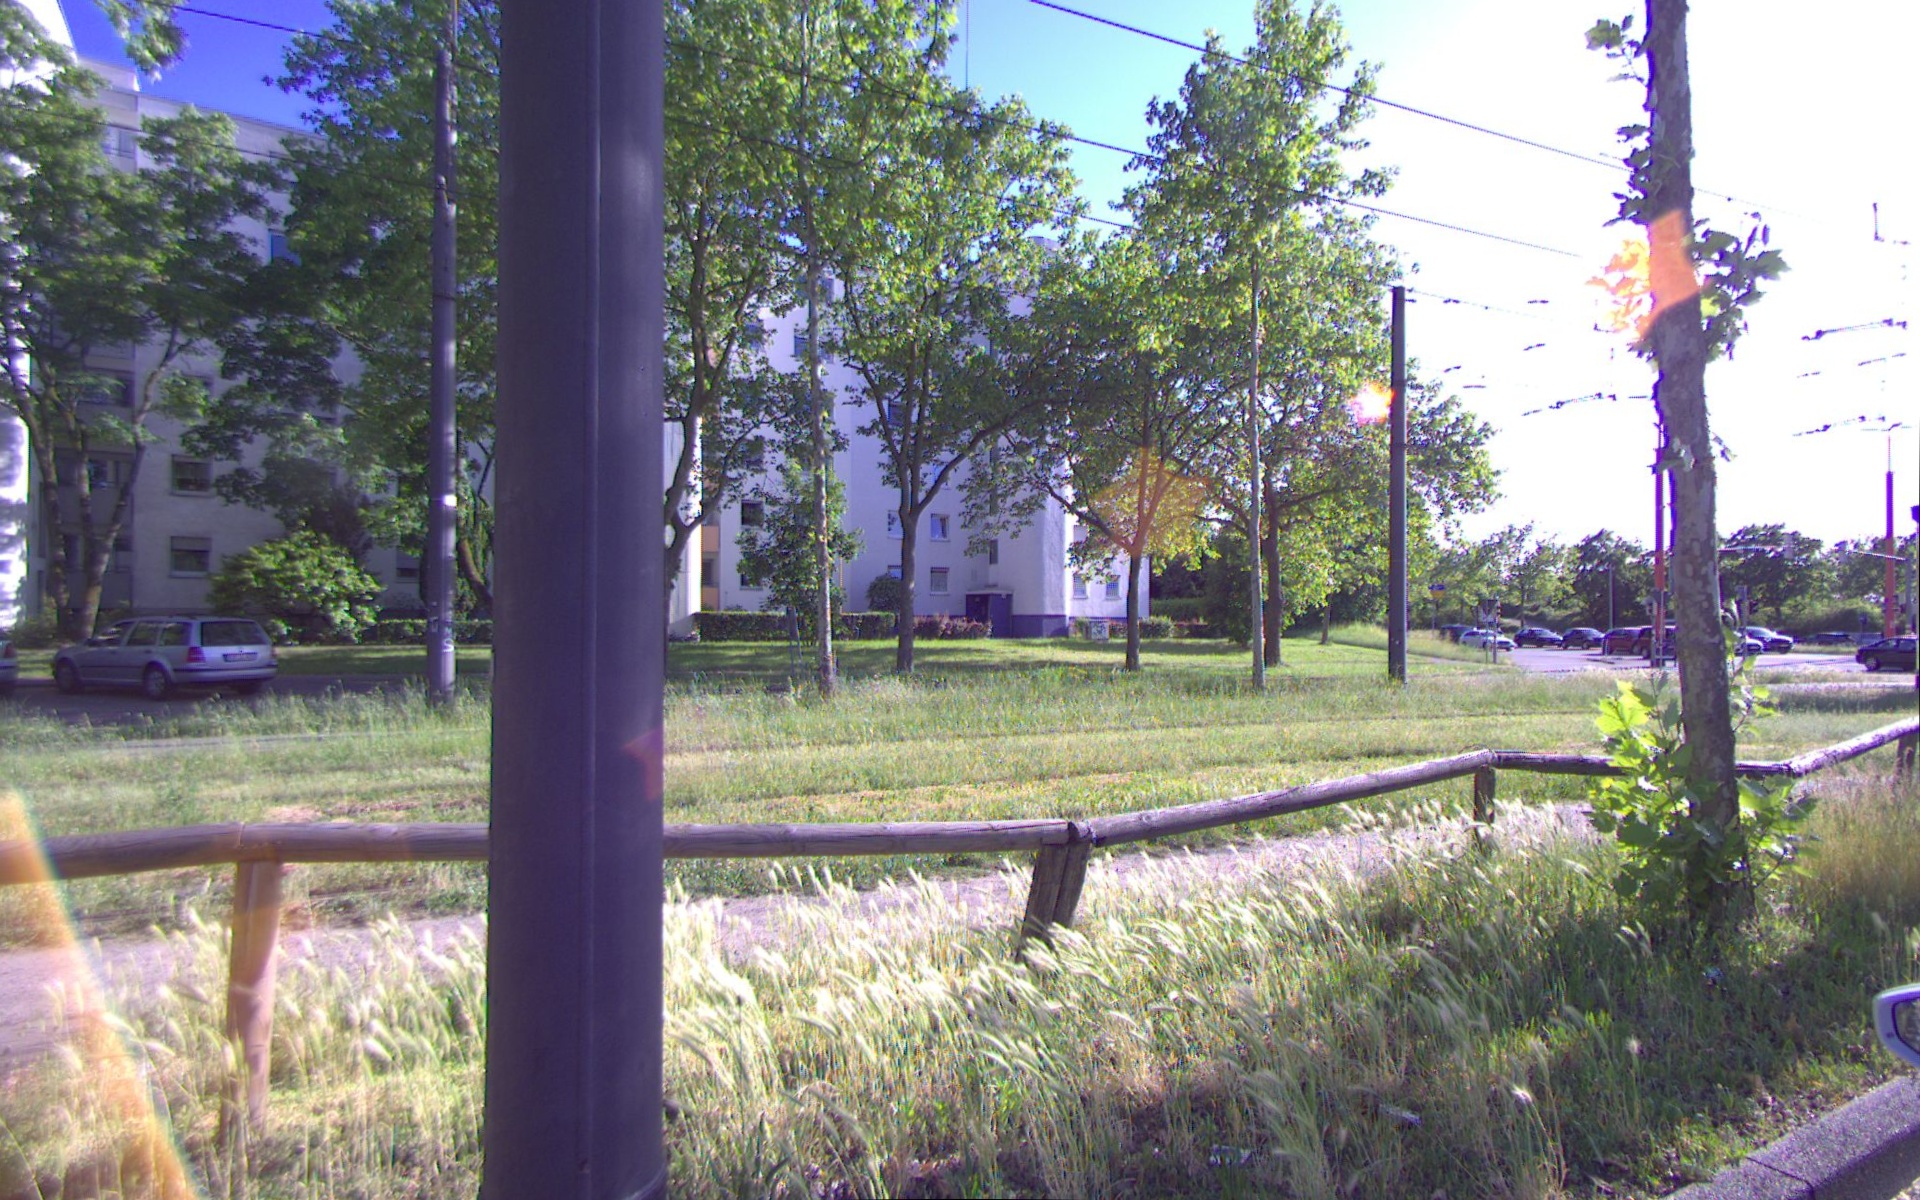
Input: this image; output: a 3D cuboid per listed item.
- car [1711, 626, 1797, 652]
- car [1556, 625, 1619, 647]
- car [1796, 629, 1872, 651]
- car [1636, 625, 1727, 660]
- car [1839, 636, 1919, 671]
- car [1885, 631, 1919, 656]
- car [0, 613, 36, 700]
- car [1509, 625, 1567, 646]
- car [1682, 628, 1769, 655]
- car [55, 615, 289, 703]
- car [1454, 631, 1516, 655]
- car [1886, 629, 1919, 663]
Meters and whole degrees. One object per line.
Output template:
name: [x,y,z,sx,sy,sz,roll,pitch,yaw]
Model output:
car: [48.619,2.392,61.635,1.877,1.483,4.222,1,-1,-2]
car: [45.000,2.566,72.135,1.877,1.483,4.055,1,-1,-3]
car: [68.494,3.083,78.851,1.961,1.617,4.466,1,-1,-3]
car: [39.307,2.278,54.876,1.806,1.755,4.358,1,-1,-1]
car: [39.201,2.220,41.652,1.727,1.344,4.319,1,-1,0]
car: [63.634,2.852,65.729,1.961,1.617,4.466,1,-1,-3]
car: [-17.925,0.929,17.136,3.609,1.452,1.703,0,-1,20]
car: [44.824,2.743,77.944,1.877,1.483,4.239,1,-1,-3]
car: [45.655,2.466,60.035,1.877,1.483,4.222,1,-1,-2]
car: [-14.481,1.028,18.480,3.609,1.452,1.732,0,-1,20]
car: [38.488,3.142,73.747,1.961,1.596,4.930,1,-1,-1]
car: [43.453,2.057,44.098,1.719,1.499,4.234,1,-1,0]
